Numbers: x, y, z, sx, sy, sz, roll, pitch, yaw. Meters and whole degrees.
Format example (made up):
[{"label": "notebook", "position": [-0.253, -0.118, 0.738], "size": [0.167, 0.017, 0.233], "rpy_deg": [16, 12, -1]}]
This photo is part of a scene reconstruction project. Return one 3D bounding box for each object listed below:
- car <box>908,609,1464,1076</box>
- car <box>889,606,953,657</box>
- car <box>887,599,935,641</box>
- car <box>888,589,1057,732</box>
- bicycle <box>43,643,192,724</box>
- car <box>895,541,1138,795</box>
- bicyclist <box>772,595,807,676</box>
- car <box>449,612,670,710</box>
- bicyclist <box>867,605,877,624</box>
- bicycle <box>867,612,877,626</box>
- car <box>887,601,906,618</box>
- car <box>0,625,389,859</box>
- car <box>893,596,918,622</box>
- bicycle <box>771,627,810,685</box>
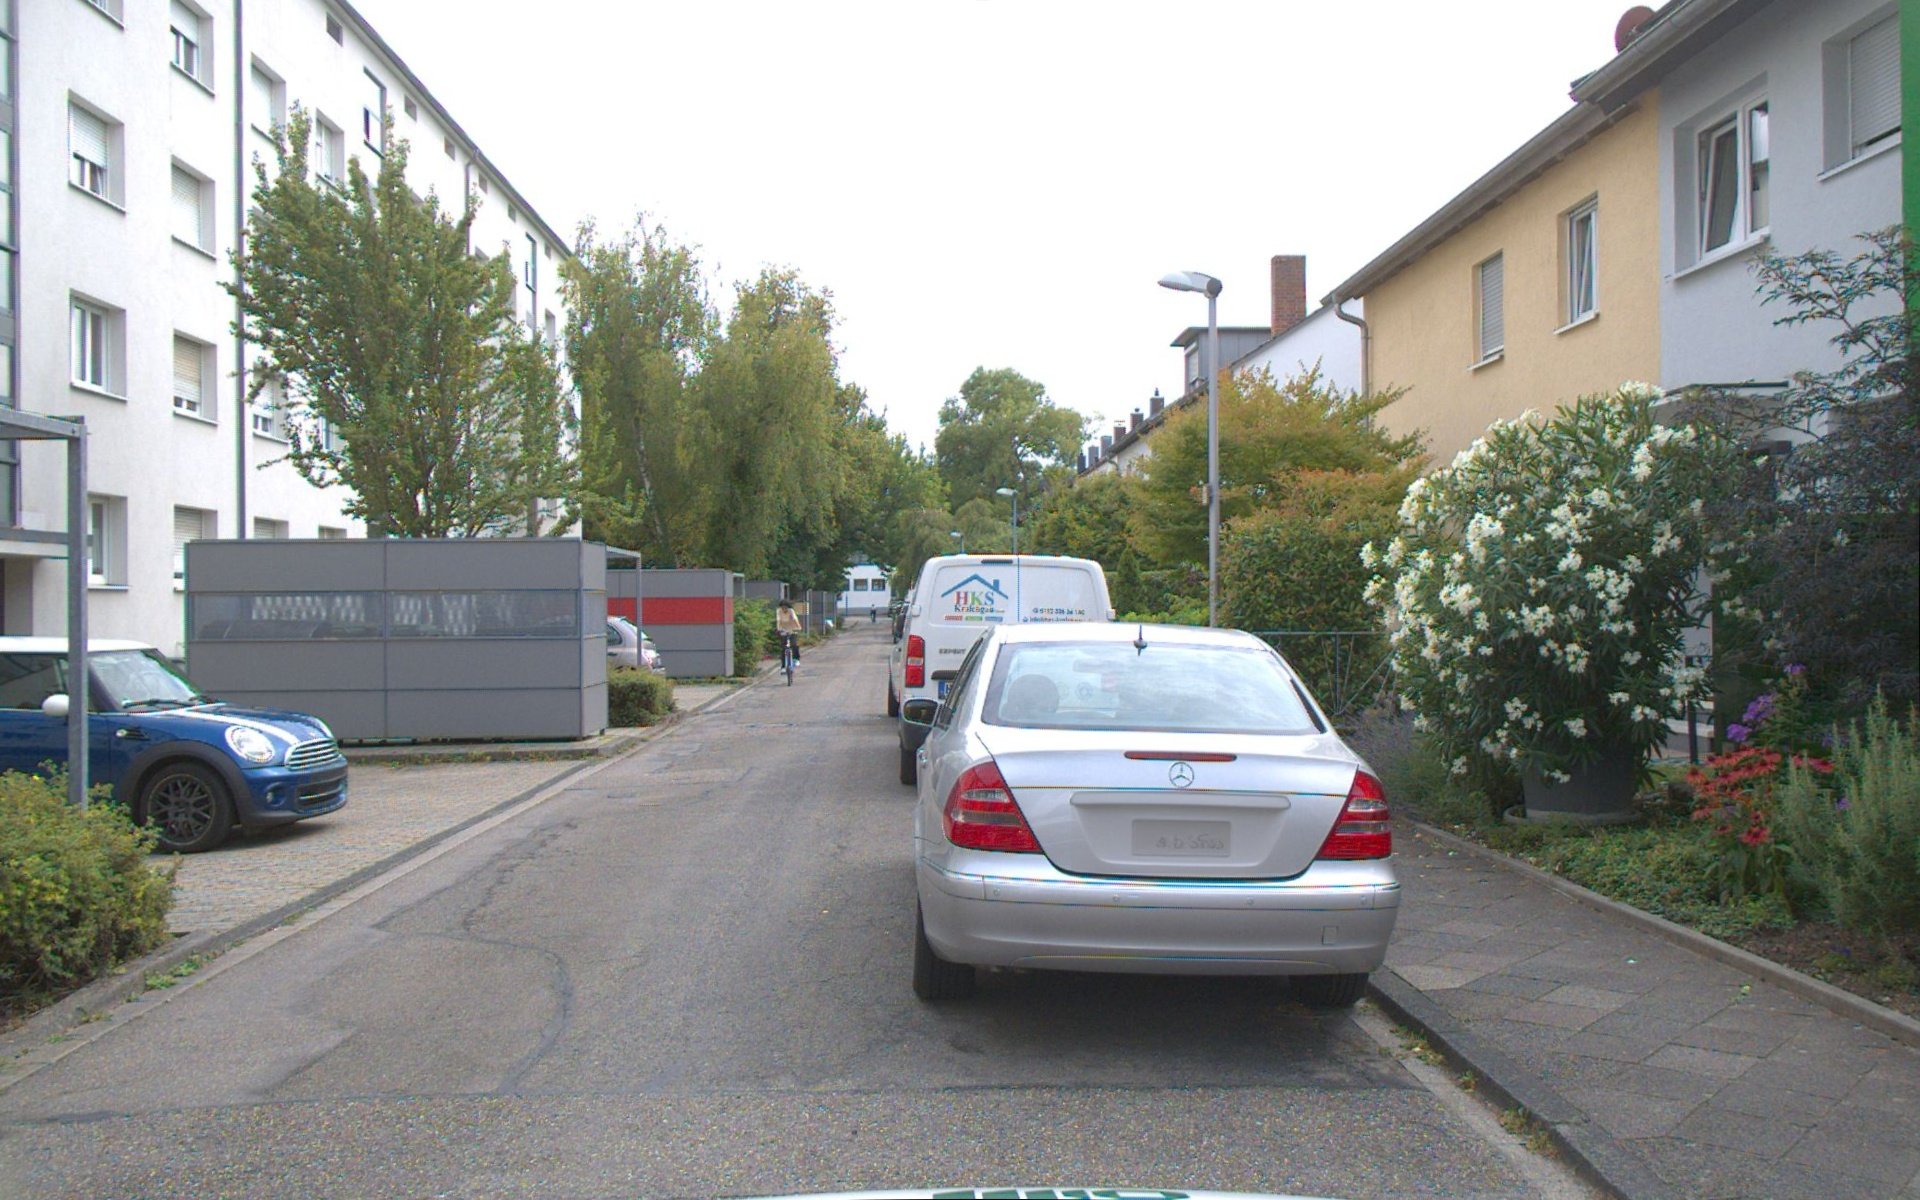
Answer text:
[{"label": "car", "position": [0.689, 0.780, 7.443], "size": [1.747, 1.445, 4.454], "rpy_deg": [1, 0, -1]}, {"label": "car", "position": [-1.176, 0.893, 48.950], "size": [1.788, 1.394, 4.329], "rpy_deg": [1, 0, -2]}, {"label": "car", "position": [-2.039, 0.791, 67.645], "size": [1.789, 1.609, 3.997], "rpy_deg": [1, 0, -4]}, {"label": "car", "position": [0.063, 0.718, 21.465], "size": [1.789, 1.664, 4.157], "rpy_deg": [1, 0, -5]}, {"label": "bicycle", "position": [-11.740, 1.141, 23.075], "size": [1.796, 1.042, 0.471], "rpy_deg": [-1, 0, -44]}, {"label": "car", "position": [0.352, 0.555, 15.786], "size": [1.866, 1.999, 5.250], "rpy_deg": [1, 0, -3]}, {"label": "bicyclist", "position": [-3.465, 0.718, 33.708], "size": [0.585, 1.608, 0.767], "rpy_deg": [-2, 0, -1]}, {"label": "car", "position": [-6.893, 1.029, 28.737], "size": [3.494, 1.506, 1.708], "rpy_deg": [-2, 0, -7]}, {"label": "bicyclist", "position": [-7.235, 1.202, 136.080], "size": [0.782, 1.537, 0.934], "rpy_deg": [1, -1, 0]}, {"label": "bicycle", "position": [-7.243, 1.555, 136.007], "size": [0.675, 1.151, 2.579], "rpy_deg": [1, 0, 0]}, {"label": "car", "position": [-6.340, 0.912, 165.217], "size": [1.788, 1.609, 3.998], "rpy_deg": [1, 0, -2]}, {"label": "car", "position": [-6.193, 0.987, 11.891], "size": [3.560, 1.487, 1.653], "rpy_deg": [-2, 0, 1]}, {"label": "car", "position": [-4.118, 0.669, 124.332], "size": [1.788, 1.916, 3.998], "rpy_deg": [1, 0, -2]}, {"label": "bicycle", "position": [-3.454, 1.132, 33.739], "size": [0.585, 1.095, 2.042], "rpy_deg": [-2, 0, -1]}]
